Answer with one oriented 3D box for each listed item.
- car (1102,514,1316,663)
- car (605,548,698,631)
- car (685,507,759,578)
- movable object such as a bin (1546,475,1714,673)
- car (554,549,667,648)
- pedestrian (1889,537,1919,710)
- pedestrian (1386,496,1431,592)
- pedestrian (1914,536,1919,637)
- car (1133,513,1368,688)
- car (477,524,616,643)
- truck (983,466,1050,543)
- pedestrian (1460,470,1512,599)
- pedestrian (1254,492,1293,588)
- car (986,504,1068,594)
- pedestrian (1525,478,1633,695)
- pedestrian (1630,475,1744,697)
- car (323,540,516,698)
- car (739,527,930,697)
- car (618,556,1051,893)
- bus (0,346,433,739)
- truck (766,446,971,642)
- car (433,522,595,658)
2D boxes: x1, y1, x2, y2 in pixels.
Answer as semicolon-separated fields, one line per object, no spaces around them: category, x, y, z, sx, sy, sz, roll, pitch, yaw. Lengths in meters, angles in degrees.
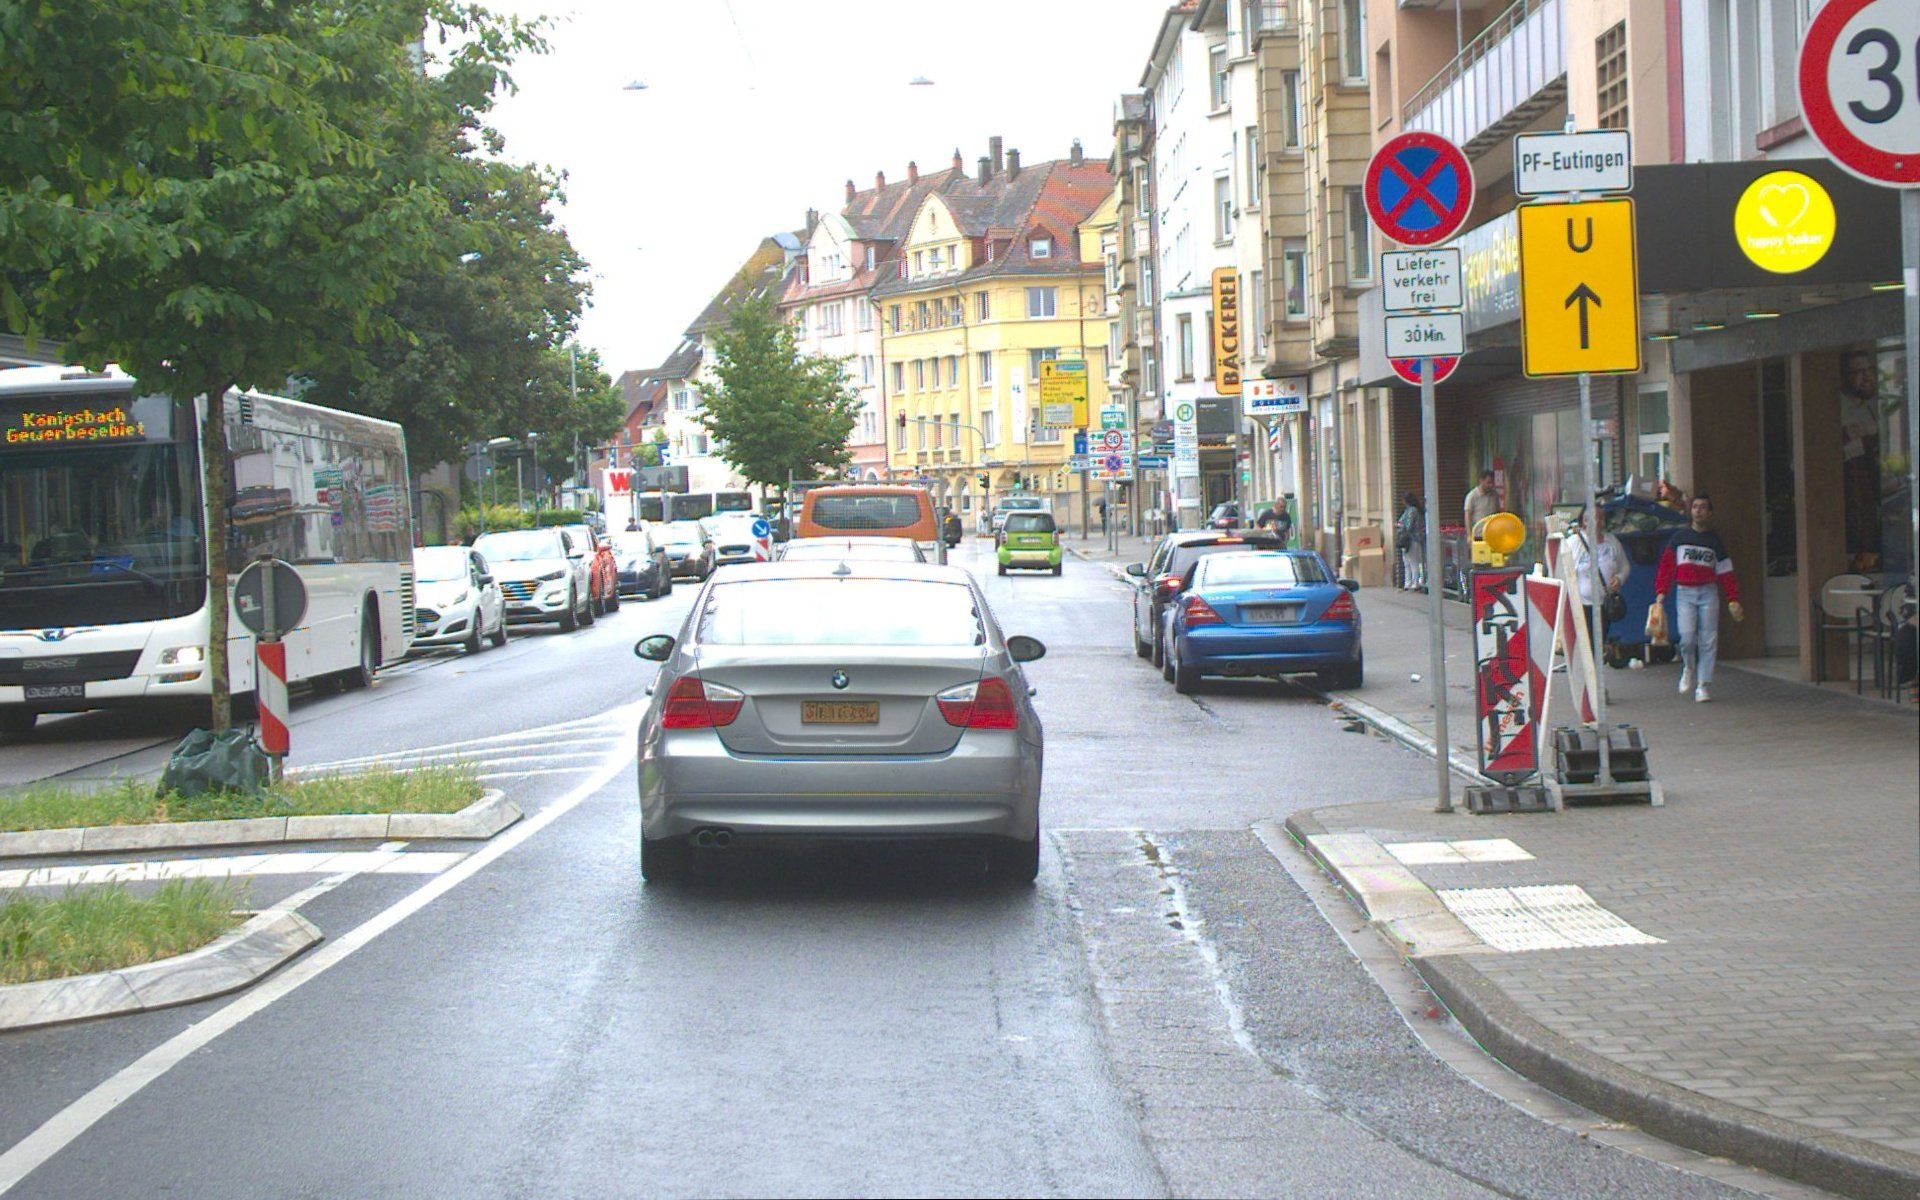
car;2.690;-0.098;38.011;1.993;1.514;4.000;1;-1;-1
car;-7.818;-0.236;87.354;1.993;2.007;4.000;1;-1;-1
car;-7.291;-1.750;105.680;1.993;2.007;4.000;1;-1;-1
movable object such as a bin;6.041;-0.222;31.104;1.122;1.697;1.434;-2;-1;-2
car;-7.407;-0.012;73.124;1.993;2.007;4.000;1;-1;-1
pedestrian;6.861;0.154;24.356;0.412;1.199;0.357;-4;1;3
pedestrian;6.790;-0.848;52.047;0.565;1.416;0.795;1;-1;13
pedestrian;6.751;0.158;23.301;0.412;1.199;0.357;-4;1;3
car;2.673;0.028;32.432;1.809;1.514;4.000;1;-1;-1
car;-7.342;-0.263;61.376;1.993;2.007;4.000;1;-1;-1
truck;2.018;-3.423;123.672;2.216;2.536;4.780;1;-1;-1
pedestrian;6.863;-0.850;44.885;0.615;1.655;0.754;1;-1;7
pedestrian;4.725;-0.901;51.834;0.522;1.416;0.430;1;-1;9
car;1.564;-1.188;81.858;1.705;2.007;4.000;1;-1;-2
pedestrian;4.830;-0.100;26.849;0.749;1.655;0.836;1;-1;7
pedestrian;5.539;-0.104;26.220;0.750;1.655;0.754;1;-1;7
car;-7.293;0.270;46.774;1.993;2.007;4.000;1;-1;-1
car;-1.133;0.122;31.041;1.601;1.415;3.288;1;-1;-2
car;-0.503;0.486;15.555;1.756;1.358;3.165;0;1;0
bus;-7.474;-0.412;34.217;2.681;3.190;11.956;1;-1;-1
truck;-1.108;-0.625;40.911;2.215;2.109;4.652;2;0;-2
car;-6.874;-0.126;53.340;1.993;2.007;4.000;1;-1;-1
